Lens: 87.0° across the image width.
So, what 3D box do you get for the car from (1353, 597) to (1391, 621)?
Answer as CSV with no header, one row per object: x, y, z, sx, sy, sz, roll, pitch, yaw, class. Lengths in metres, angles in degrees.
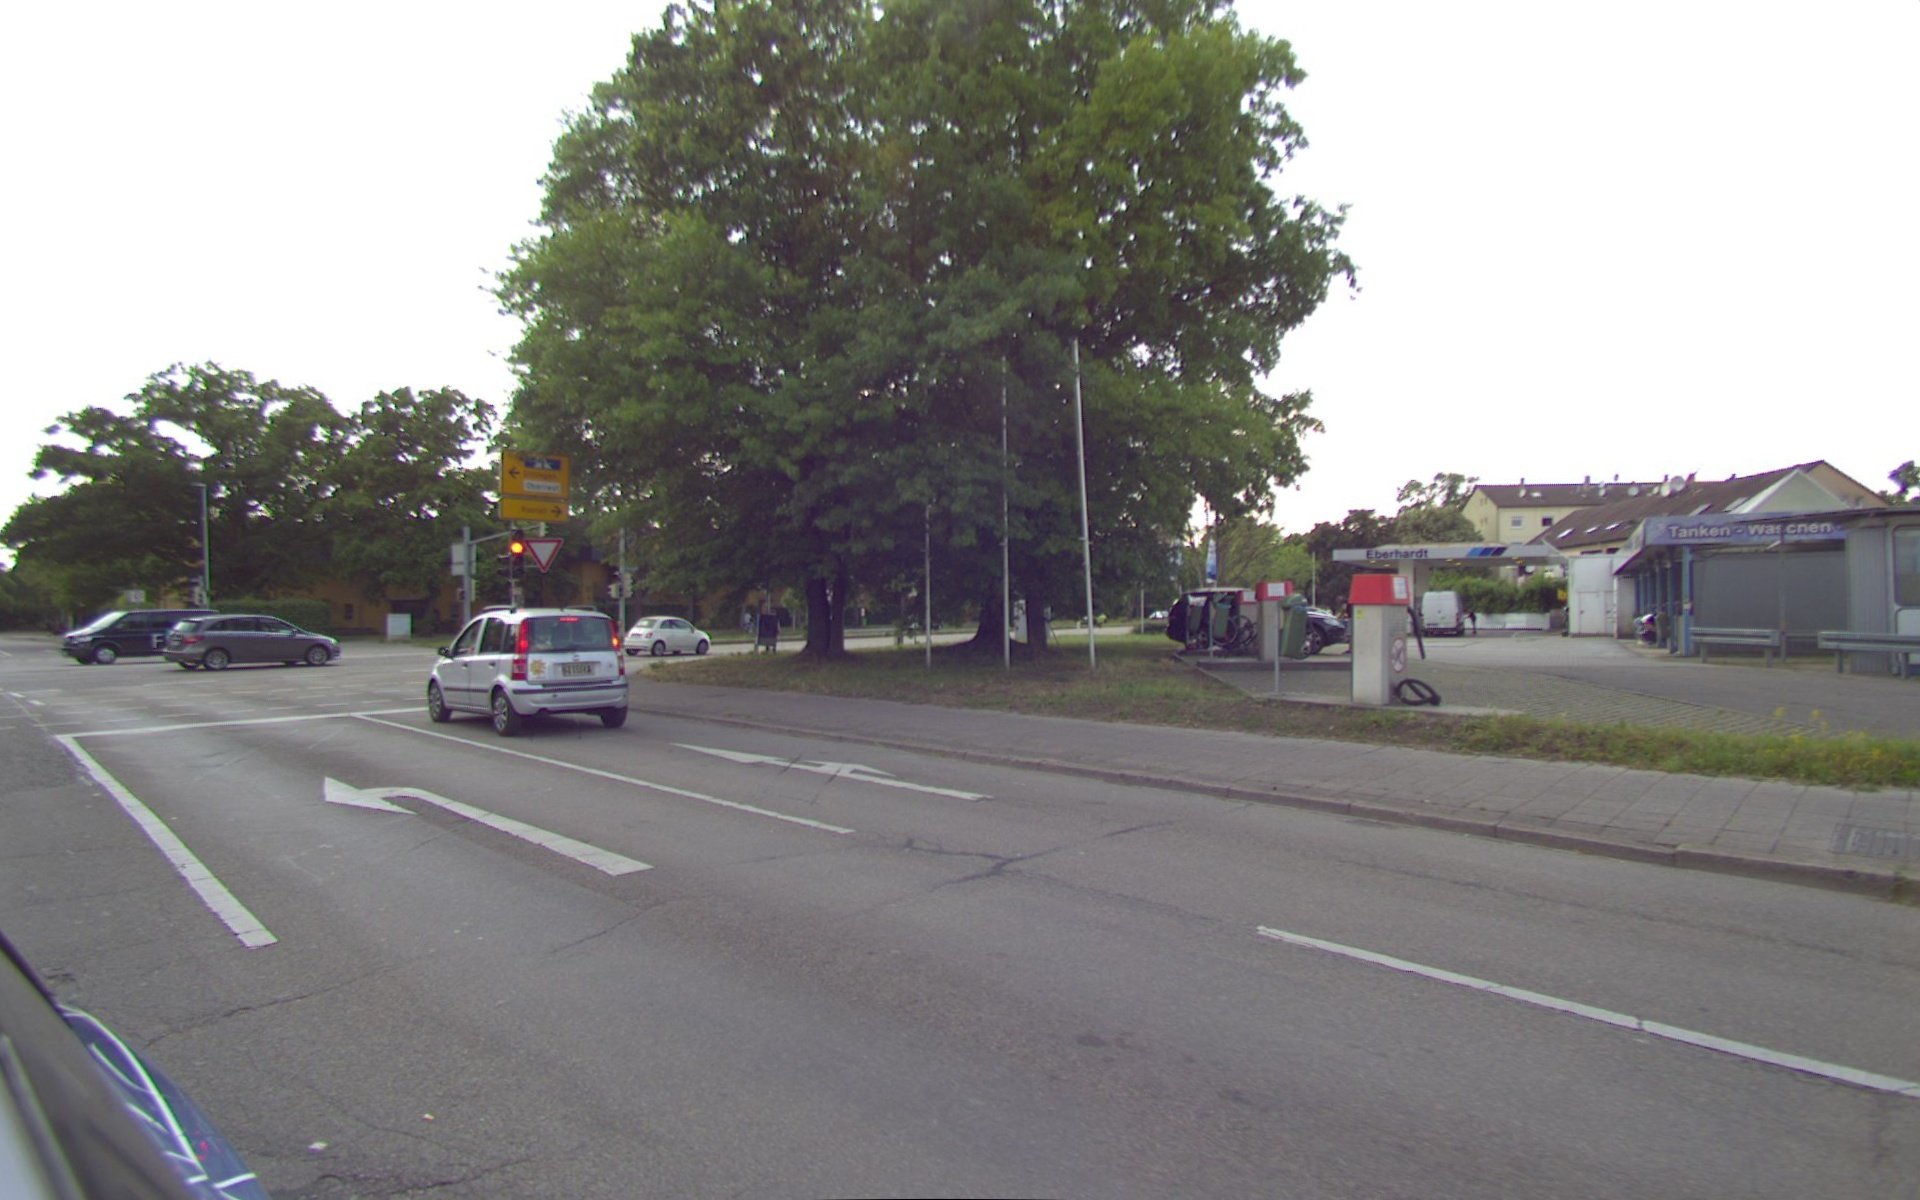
26.332,0.561,64.597,1.749,1.465,3.703,-1,-1,30,car

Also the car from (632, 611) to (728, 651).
-11.071,1.199,40.179,1.570,1.508,3.500,-1,-1,33,car

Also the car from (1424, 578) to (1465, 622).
28.556,0.031,59.523,1.749,2.472,5.692,-1,-1,29,car

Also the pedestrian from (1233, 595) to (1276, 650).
6.690,0.505,23.022,0.635,1.199,0.768,2,0,-12,pedestrian

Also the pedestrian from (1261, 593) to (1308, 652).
7.089,0.482,22.119,0.635,1.265,0.768,2,0,-12,pedestrian

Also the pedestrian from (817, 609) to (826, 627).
-11.675,1.547,85.287,0.566,1.507,0.419,1,0,17,pedestrian

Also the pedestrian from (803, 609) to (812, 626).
-13.080,1.495,86.747,0.566,1.507,0.419,1,0,17,pedestrian

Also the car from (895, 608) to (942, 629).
-3.388,1.508,83.870,1.859,1.718,4.410,-1,-1,30,car

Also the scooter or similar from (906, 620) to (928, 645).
-1.699,1.285,40.313,0.221,0.987,1.259,-1,-1,31,scooter or similar

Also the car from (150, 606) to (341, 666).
-20.978,1.005,29.916,1.698,1.631,4.313,0,0,31,car

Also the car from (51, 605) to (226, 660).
-30.363,1.143,37.574,1.765,1.871,4.765,-1,-1,31,car

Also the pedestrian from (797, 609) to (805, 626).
-13.653,1.500,86.881,0.566,1.507,0.419,1,0,17,pedestrian

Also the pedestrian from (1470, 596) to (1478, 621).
31.527,0.522,62.079,0.325,1.535,0.423,1,0,21,pedestrian

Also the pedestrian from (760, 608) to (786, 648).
-7.240,1.088,39.202,0.721,1.543,0.756,-1,-1,16,pedestrian

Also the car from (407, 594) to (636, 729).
-5.848,0.718,13.304,3.610,1.528,1.536,-1,-1,45,car

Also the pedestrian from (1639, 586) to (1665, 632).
23.505,0.317,34.360,0.655,1.556,0.616,-2,-1,39,pedestrian

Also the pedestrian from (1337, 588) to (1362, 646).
10.317,0.440,26.808,0.559,1.506,0.615,1,0,24,pedestrian

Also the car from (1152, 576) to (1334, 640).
7.660,0.244,27.355,4.532,1.608,2.138,-1,-1,22,car

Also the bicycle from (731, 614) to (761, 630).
-15.552,1.576,73.525,2.104,1.127,0.750,-1,-1,28,bicycle

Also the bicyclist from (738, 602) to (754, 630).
-15.580,1.166,73.544,0.828,2.029,0.746,-1,-1,28,bicyclist
